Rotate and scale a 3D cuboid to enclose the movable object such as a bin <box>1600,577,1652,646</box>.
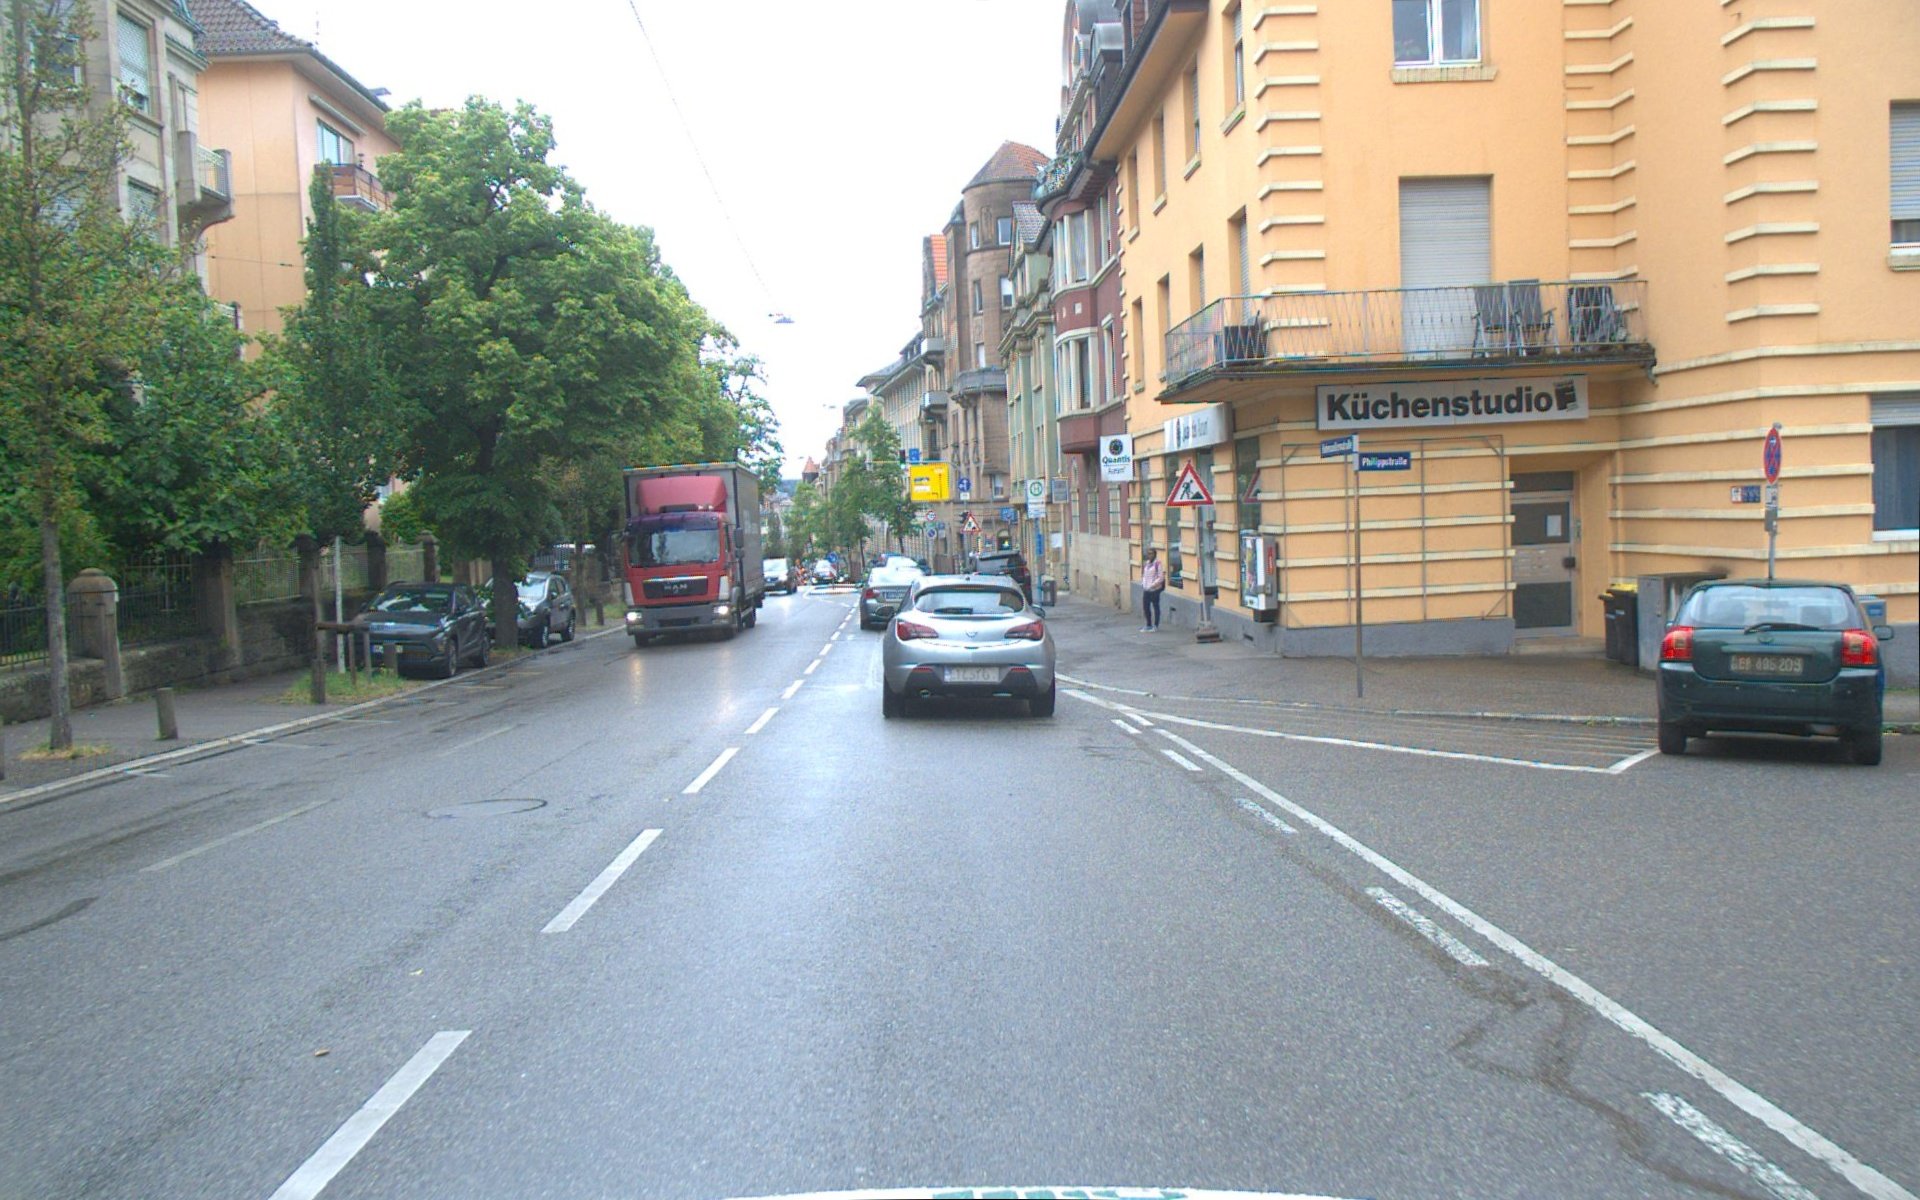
[{"bbox_3d":[9.282,0.155,23.049,0.494,0.934,0.513,0,3,-2],"label":"movable object such as a bin"}]

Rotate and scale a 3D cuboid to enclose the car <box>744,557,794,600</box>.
[{"bbox_3d":[-8.108,-0.949,70.610,1.737,1.543,4.590,-3,4,-3],"label":"car"}]

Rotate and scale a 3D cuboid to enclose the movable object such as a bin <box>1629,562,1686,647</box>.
[{"bbox_3d":[9.189,0.050,21.794,0.495,1.059,0.513,-4,3,-2],"label":"movable object such as a bin"}]

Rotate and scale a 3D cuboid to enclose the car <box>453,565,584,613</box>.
[{"bbox_3d":[-14.891,-0.382,55.938,3.908,1.349,1.836,-3,2,-4],"label":"car"}]

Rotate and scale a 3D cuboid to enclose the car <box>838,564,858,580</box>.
[{"bbox_3d":[-10.696,-2.684,157.589,1.607,1.454,3.369,-3,1,-9],"label":"car"}]

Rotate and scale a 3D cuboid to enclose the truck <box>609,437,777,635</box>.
[{"bbox_3d":[-6.060,-1.441,39.085,2.595,3.920,9.303,-4,2,-3],"label":"truck"}]

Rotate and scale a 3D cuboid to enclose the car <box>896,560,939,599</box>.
[{"bbox_3d":[-1.765,-0.874,68.557,1.736,1.530,3.868,-1,1,-2],"label":"car"}]

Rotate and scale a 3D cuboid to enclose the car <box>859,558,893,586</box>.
[{"bbox_3d":[-5.231,-1.731,102.796,1.626,1.569,3.658,-5,1,-9],"label":"car"}]

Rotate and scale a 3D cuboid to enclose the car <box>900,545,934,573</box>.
[{"bbox_3d":[-2.720,-2.552,103.808,1.626,1.569,3.658,-5,1,-9],"label":"car"}]

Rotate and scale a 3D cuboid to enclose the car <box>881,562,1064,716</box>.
[{"bbox_3d":[0.095,0.352,18.325,1.774,1.475,3.868,-1,1,-1],"label":"car"}]

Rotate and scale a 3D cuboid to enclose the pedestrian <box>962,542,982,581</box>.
[{"bbox_3d":[0.586,-1.858,79.287,0.703,1.804,0.666,-4,2,16],"label":"pedestrian"}]

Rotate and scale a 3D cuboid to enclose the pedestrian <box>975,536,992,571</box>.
[{"bbox_3d":[1.127,-2.241,79.074,0.584,1.611,0.666,-4,2,16],"label":"pedestrian"}]

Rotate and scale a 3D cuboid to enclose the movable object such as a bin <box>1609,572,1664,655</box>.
[{"bbox_3d":[9.191,0.182,22.477,0.494,1.074,0.513,0,6,-2],"label":"movable object such as a bin"}]

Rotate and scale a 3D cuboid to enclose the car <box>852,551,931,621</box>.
[{"bbox_3d":[-1.586,-0.347,39.091,1.736,1.530,3.868,-1,1,-2],"label":"car"}]

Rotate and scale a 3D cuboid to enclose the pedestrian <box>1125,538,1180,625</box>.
[{"bbox_3d":[3.700,-0.362,31.839,0.755,1.617,0.708,-3,1,-21],"label":"pedestrian"}]

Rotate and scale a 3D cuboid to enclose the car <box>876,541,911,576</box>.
[{"bbox_3d":[-3.307,-2.061,82.284,1.624,1.569,3.664,-5,1,-2],"label":"car"}]

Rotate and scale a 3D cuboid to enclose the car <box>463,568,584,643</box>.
[{"bbox_3d":[-9.924,0.079,37.902,1.706,1.586,4.301,-1,1,-2],"label":"car"}]

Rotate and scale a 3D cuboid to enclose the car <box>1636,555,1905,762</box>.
[{"bbox_3d":[7.250,0.459,14.582,1.815,1.494,4.102,3,0,30],"label":"car"}]

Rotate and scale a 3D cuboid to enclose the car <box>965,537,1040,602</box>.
[{"bbox_3d":[1.201,-0.903,48.801,1.839,1.657,4.696,-5,1,-2],"label":"car"}]

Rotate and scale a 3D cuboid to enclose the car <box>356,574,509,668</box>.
[{"bbox_3d":[-9.470,0.323,30.015,1.707,1.586,4.298,0,1,-5],"label":"car"}]

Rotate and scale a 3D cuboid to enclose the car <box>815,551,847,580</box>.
[{"bbox_3d":[-7.398,-2.001,94.916,1.780,1.544,4.545,-1,2,-4],"label":"car"}]
